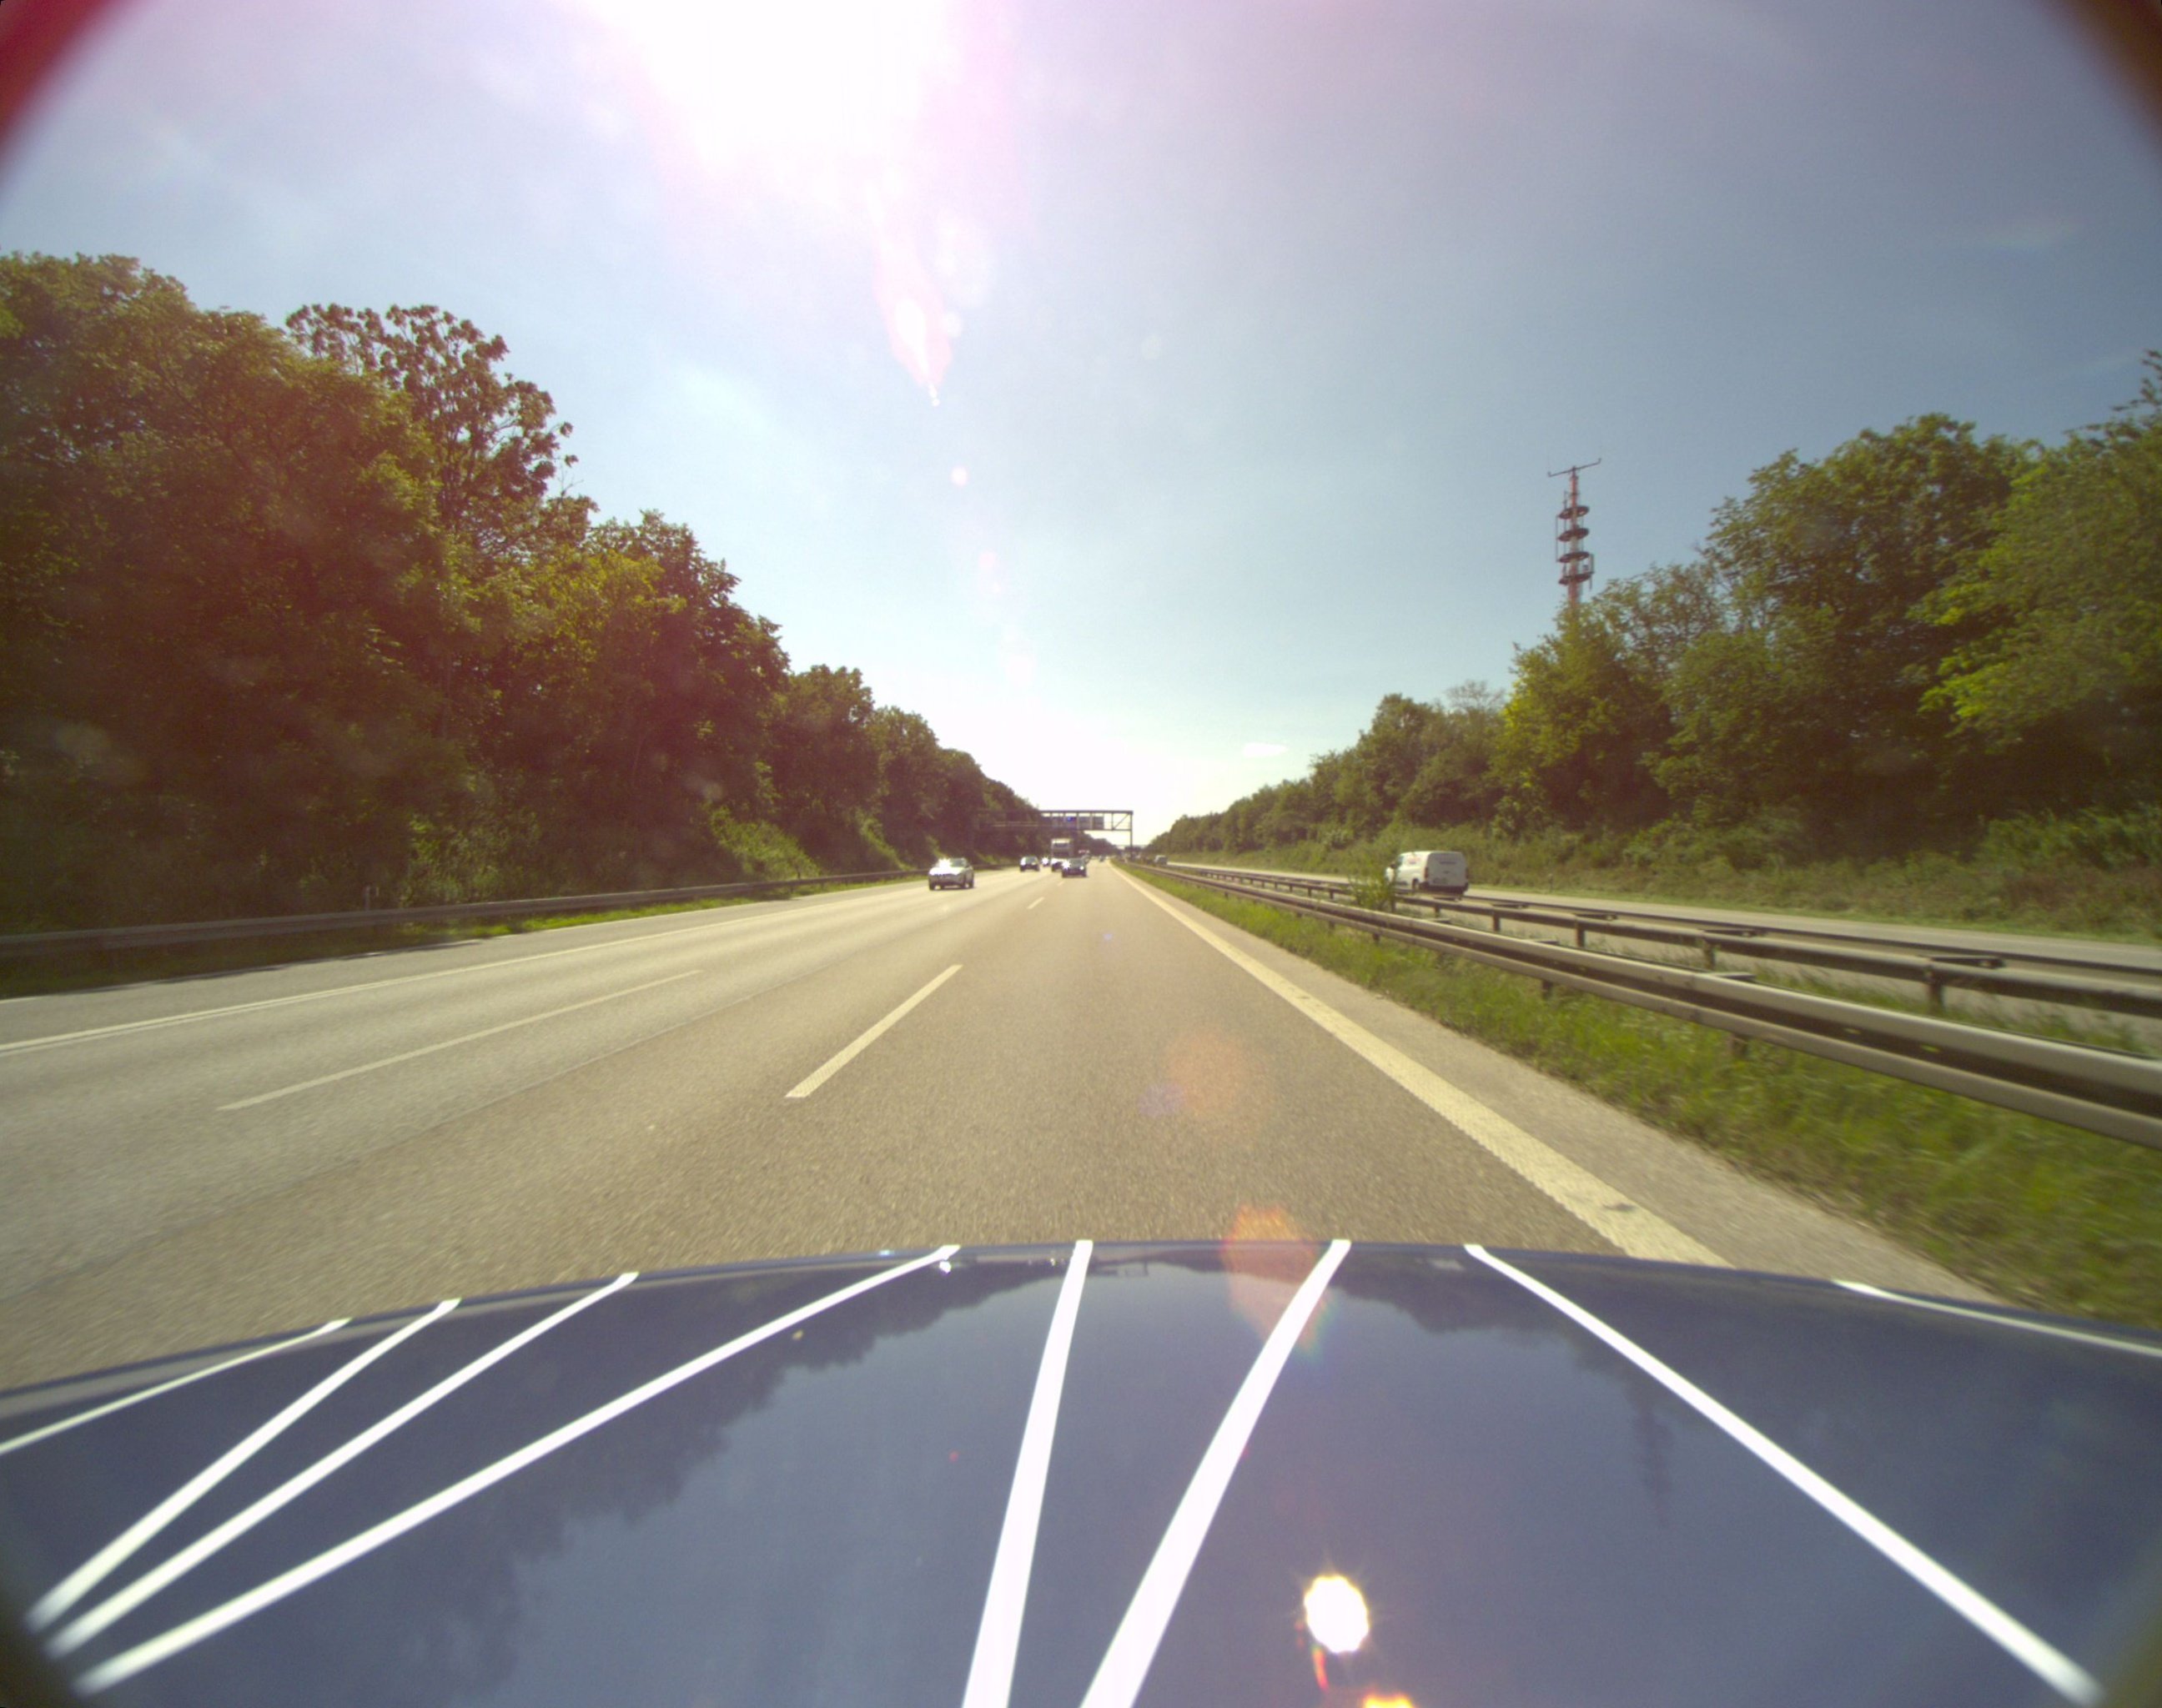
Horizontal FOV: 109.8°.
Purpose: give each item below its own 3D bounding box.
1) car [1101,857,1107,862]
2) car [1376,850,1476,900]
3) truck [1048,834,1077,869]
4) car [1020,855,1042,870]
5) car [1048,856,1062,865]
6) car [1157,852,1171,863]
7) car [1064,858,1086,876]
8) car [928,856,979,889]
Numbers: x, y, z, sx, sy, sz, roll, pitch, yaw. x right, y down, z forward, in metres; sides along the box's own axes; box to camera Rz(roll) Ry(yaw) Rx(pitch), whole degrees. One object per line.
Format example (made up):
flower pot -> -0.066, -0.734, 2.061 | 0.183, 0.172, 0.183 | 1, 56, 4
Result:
car -> 5.922, 1.356, 194.976 | 1.591, 1.291, 3.383 | 0, 0, 2
car -> 13.922, 0.776, 31.014 | 1.750, 1.819, 5.169 | 1, 0, 1
truck -> -1.938, -0.239, 81.970 | 2.676, 3.660, 6.484 | -1, 0, 1
car -> -5.626, 0.926, 86.183 | 1.924, 1.659, 4.687 | -2, 0, 3
car -> -4.214, 1.014, 123.180 | 1.916, 1.390, 4.138 | -1, 0, 1
car -> 12.767, 0.529, 116.743 | 1.816, 1.607, 3.913 | 1, 0, 1
car -> -0.450, 0.954, 57.092 | 1.537, 1.265, 2.770 | -1, 0, 1
car -> -6.680, 0.935, 40.262 | 1.848, 1.559, 4.036 | -2, 0, 2
